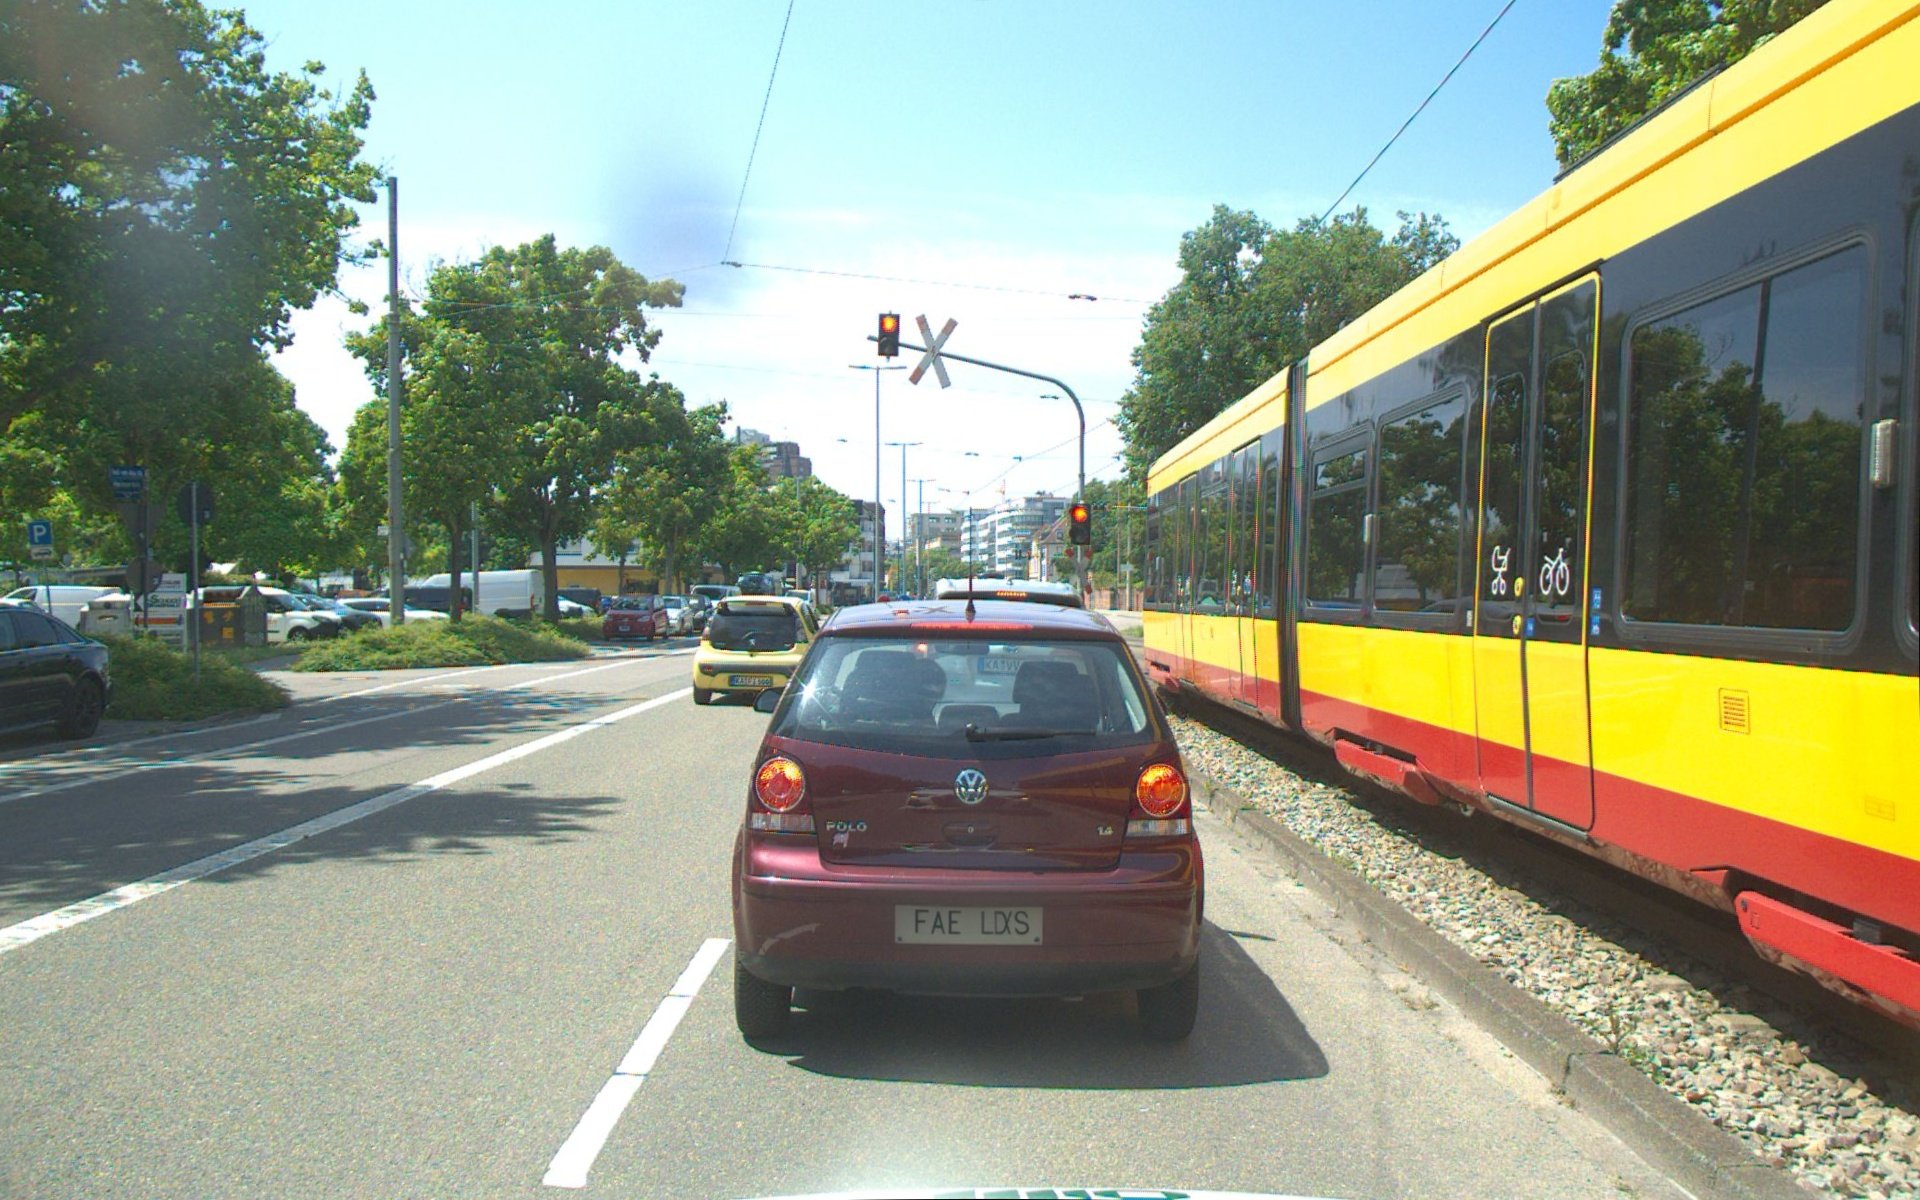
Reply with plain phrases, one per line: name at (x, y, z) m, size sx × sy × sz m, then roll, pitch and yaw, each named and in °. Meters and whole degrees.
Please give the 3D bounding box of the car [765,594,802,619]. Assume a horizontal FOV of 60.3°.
car at (-10.785, 0.414, 101.239) m, size 1.581 × 1.466 × 4.001 m, roll 2°, pitch -1°, yaw 3°

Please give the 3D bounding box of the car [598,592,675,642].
car at (-10.559, 0.557, 54.233) m, size 1.628 × 1.523 × 4.000 m, roll 2°, pitch -1°, yaw 1°

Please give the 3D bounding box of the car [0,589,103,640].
car at (-32.474, 0.496, 57.955) m, size 3.913 × 1.682 × 1.812 m, roll 2°, pitch -1°, yaw -9°

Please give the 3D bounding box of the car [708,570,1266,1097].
car at (0.035, 0.690, 6.921) m, size 1.638 × 1.548 × 3.999 m, roll 1°, pitch 0°, yaw -2°

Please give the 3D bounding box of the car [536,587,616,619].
car at (-21.216, 0.174, 91.412) m, size 3.938 × 1.645 × 1.816 m, roll 2°, pitch -1°, yaw 0°

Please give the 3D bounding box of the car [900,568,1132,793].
car at (0.378, 0.602, 14.641) m, size 1.741 × 1.676 × 3.999 m, roll 2°, pitch 0°, yaw -2°

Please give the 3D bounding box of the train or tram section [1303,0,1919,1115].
train or tram section at (4.034, -0.390, 7.163) m, size 2.685 × 3.672 × 10.949 m, roll 2°, pitch 0°, yaw 0°

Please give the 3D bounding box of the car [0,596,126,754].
car at (-10.313, 0.740, 16.485) m, size 1.782 × 1.502 × 4.448 m, roll 2°, pitch 0°, yaw -1°

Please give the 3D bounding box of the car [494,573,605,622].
car at (-20.904, -0.101, 84.418) m, size 4.993 × 2.283 × 2.378 m, roll 2°, pitch -1°, yaw 0°

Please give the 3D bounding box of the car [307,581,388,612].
car at (-35.347, -0.186, 95.438) m, size 3.939 × 1.645 × 1.816 m, roll 2°, pitch -1°, yaw -2°

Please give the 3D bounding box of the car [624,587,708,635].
car at (-10.754, 0.398, 60.779) m, size 1.934 × 1.629 × 4.560 m, roll 2°, pitch -1°, yaw 4°

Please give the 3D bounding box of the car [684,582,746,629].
car at (-10.468, 0.257, 71.023) m, size 1.746 × 1.914 × 4.787 m, roll 2°, pitch -1°, yaw 2°

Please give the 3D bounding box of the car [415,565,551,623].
car at (-20.337, -0.235, 70.669) m, size 4.993 × 2.283 × 2.378 m, roll 2°, pitch -1°, yaw 0°

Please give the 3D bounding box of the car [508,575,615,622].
car at (-20.931, -0.079, 87.033) m, size 4.993 × 2.283 × 2.378 m, roll 2°, pitch -1°, yaw 0°

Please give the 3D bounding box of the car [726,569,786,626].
car at (-10.326, -0.118, 84.070) m, size 2.313 × 2.739 × 5.307 m, roll 2°, pitch -1°, yaw 0°

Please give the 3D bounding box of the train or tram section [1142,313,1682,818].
train or tram section at (3.970, -0.295, 17.803) m, size 2.685 × 3.672 × 10.949 m, roll 2°, pitch 0°, yaw 0°

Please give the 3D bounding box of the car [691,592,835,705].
car at (-2.706, 0.627, 23.362) m, size 1.656 × 1.435 × 3.514 m, roll 2°, pitch 0°, yaw -2°

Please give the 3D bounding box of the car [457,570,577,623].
car at (-21.036, -0.156, 78.755) m, size 4.993 × 2.283 × 2.378 m, roll 2°, pitch -1°, yaw 0°

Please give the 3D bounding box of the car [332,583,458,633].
car at (-20.527, 0.283, 60.182) m, size 3.906 × 1.776 × 1.998 m, roll -1°, pitch 0°, yaw -2°

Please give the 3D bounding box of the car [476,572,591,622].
car at (-21.090, -0.129, 81.942) m, size 4.993 × 2.283 × 2.378 m, roll 2°, pitch -1°, yaw 0°

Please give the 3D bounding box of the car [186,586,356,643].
car at (-20.474, 0.416, 49.248) m, size 4.251 × 1.612 × 1.914 m, roll -1°, pitch 0°, yaw 5°

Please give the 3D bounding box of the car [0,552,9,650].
car at (-33.120, -0.087, 50.391) m, size 6.714 × 3.017 × 2.363 m, roll 2°, pitch -1°, yaw -2°

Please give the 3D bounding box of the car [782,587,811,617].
car at (-10.613, 0.156, 107.347) m, size 1.741 × 1.860 × 3.995 m, roll 2°, pitch -1°, yaw -6°

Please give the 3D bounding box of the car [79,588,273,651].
car at (-20.947, 0.510, 44.333) m, size 4.256 × 1.612 × 1.912 m, roll -1°, pitch 0°, yaw -3°

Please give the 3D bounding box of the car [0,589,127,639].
car at (-32.851, 0.505, 60.358) m, size 3.913 × 1.682 × 1.812 m, roll 2°, pitch -1°, yaw -9°

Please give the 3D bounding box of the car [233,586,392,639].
car at (-20.385, 0.395, 52.151) m, size 4.251 × 1.612 × 1.914 m, roll -1°, pitch 0°, yaw 5°
